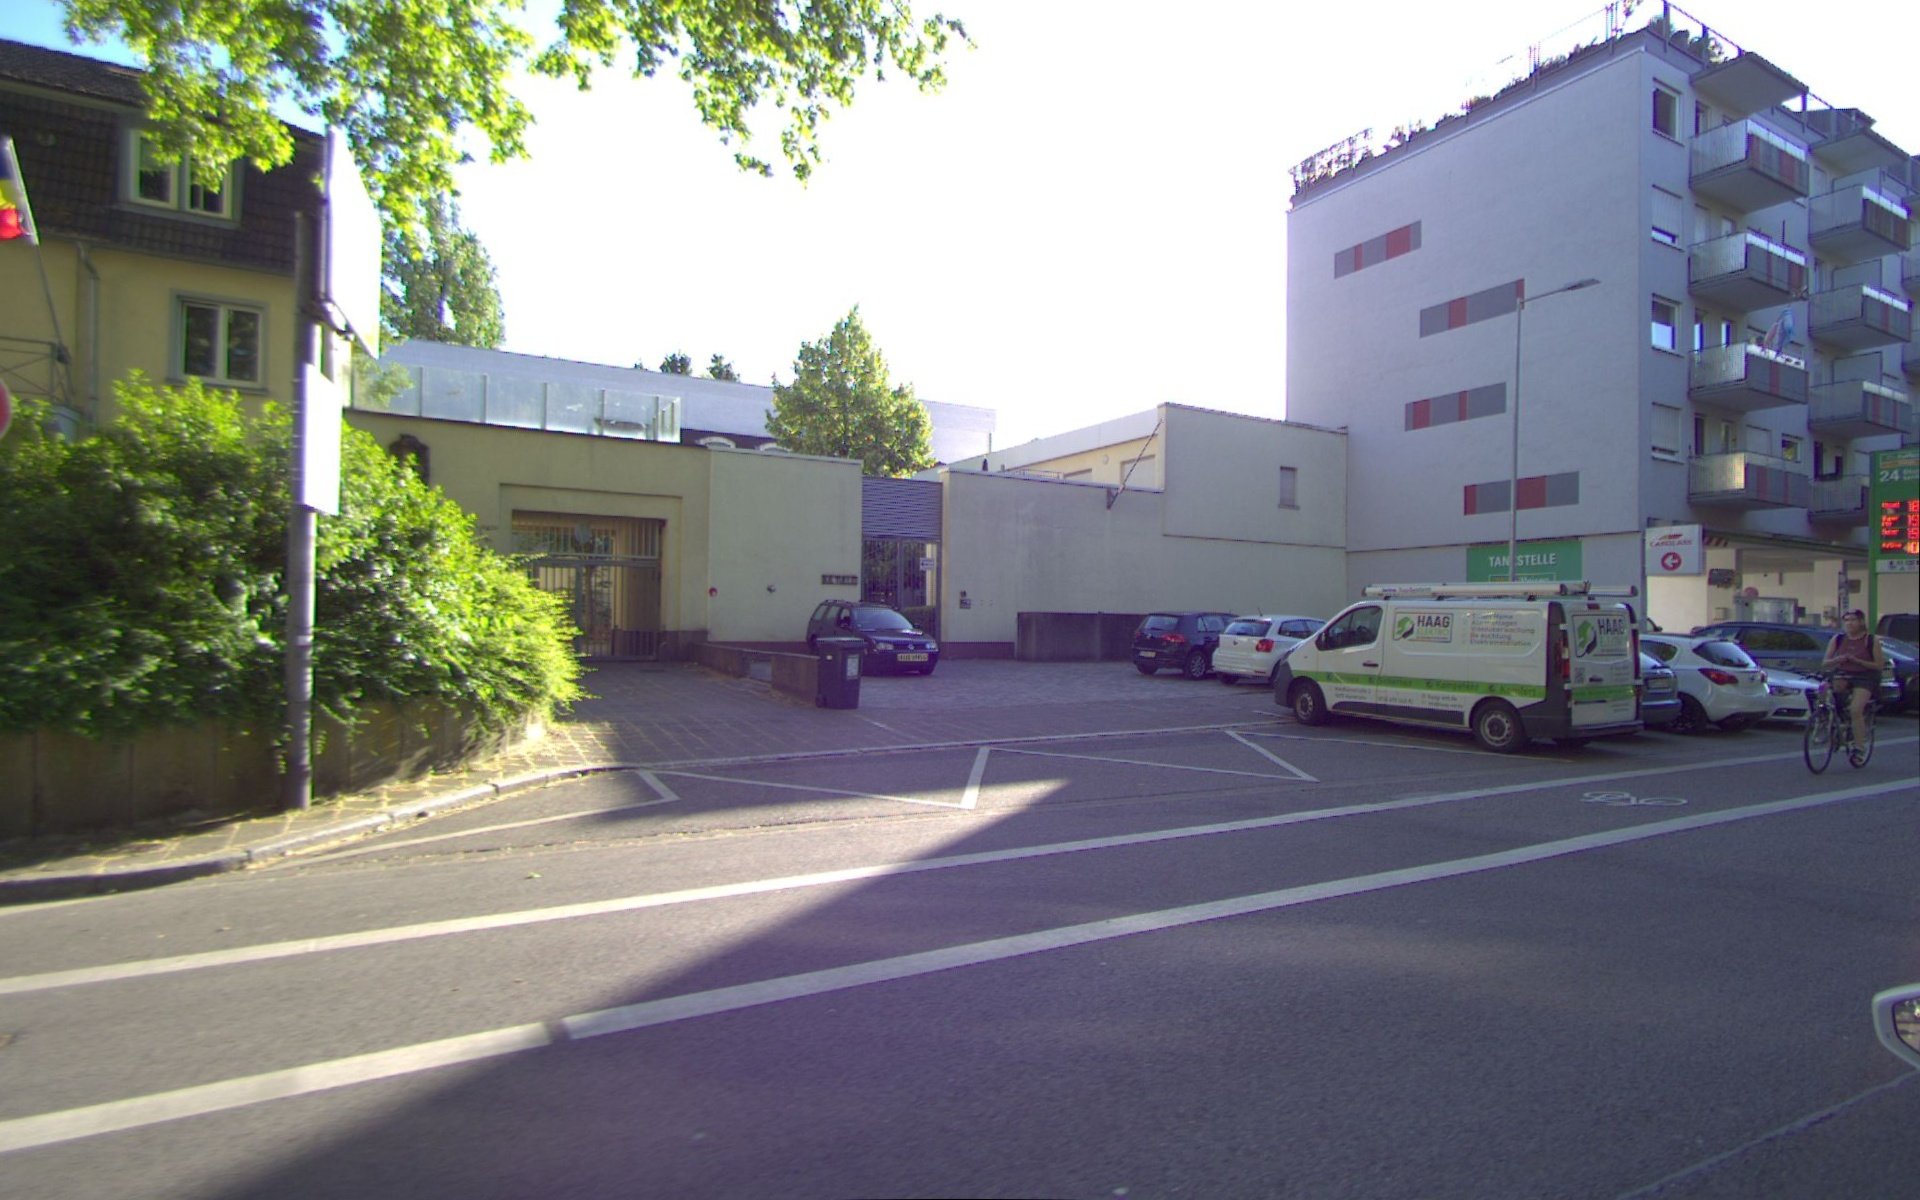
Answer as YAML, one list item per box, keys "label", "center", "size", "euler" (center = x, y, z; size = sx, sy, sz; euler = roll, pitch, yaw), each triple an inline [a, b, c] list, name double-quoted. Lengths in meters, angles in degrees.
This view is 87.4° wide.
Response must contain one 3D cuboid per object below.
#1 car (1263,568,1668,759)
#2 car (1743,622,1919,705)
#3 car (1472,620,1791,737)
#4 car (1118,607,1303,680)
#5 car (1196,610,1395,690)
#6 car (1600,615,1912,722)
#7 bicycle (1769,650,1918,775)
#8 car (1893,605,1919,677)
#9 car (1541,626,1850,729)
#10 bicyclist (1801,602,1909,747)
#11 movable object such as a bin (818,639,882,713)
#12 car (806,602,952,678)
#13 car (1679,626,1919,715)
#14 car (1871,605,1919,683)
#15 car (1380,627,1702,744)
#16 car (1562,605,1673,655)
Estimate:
- label: "car"
  center: [6.948, 0.735, 14.428]
  size: [2.114, 2.246, 4.821]
  euler: [1, 0, -30]
- label: "car"
  center: [19.201, 1.304, 21.312]
  size: [1.809, 1.533, 3.668]
  euler: [1, 1, -30]
- label: "car"
  center: [10.831, 1.157, 16.504]
  size: [1.831, 1.580, 3.968]
  euler: [1, 0, -30]
- label: "car"
  center: [5.703, 0.941, 22.785]
  size: [3.953, 1.484, 1.781]
  euler: [1, 1, -30]
- label: "car"
  center: [7.038, 0.995, 20.997]
  size: [3.953, 1.484, 1.781]
  euler: [1, 1, -30]
- label: "car"
  center: [14.811, 1.175, 18.948]
  size: [2.004, 1.706, 4.175]
  euler: [1, 0, -30]
- label: "bicycle"
  center: [9.897, 1.209, 11.229]
  size: [2.025, 1.256, 0.604]
  euler: [0, -3, -30]
- label: "car"
  center: [28.370, 1.199, 26.961]
  size: [2.120, 1.978, 4.400]
  euler: [1, 1, -29]
- label: "car"
  center: [12.653, 1.241, 17.548]
  size: [1.831, 1.452, 3.968]
  euler: [1, 0, -30]
- label: "bicyclist"
  center: [10.137, 0.824, 11.385]
  size: [0.923, 1.565, 0.604]
  euler: [0, -3, -30]
- label: "movable object such as a bin"
  center: [-1.678, 1.140, 15.303]
  size: [0.825, 1.058, 0.525]
  euler: [0, 1, -30]
- label: "car"
  center: [-1.869, 0.805, 22.060]
  size: [1.866, 1.436, 3.846]
  euler: [0, 1, -27]
- label: "car"
  center: [17.080, 1.319, 20.082]
  size: [1.893, 1.475, 3.968]
  euler: [1, 0, -30]
- label: "car"
  center: [26.174, 1.203, 25.184]
  size: [2.032, 1.978, 4.501]
  euler: [1, 1, -29]
- label: "car"
  center: [8.809, 1.196, 15.582]
  size: [1.831, 1.452, 3.968]
  euler: [1, 0, -30]
- label: "car"
  center: [25.085, 1.171, 38.280]
  size: [4.531, 1.770, 1.713]
  euler: [2, -2, -30]
